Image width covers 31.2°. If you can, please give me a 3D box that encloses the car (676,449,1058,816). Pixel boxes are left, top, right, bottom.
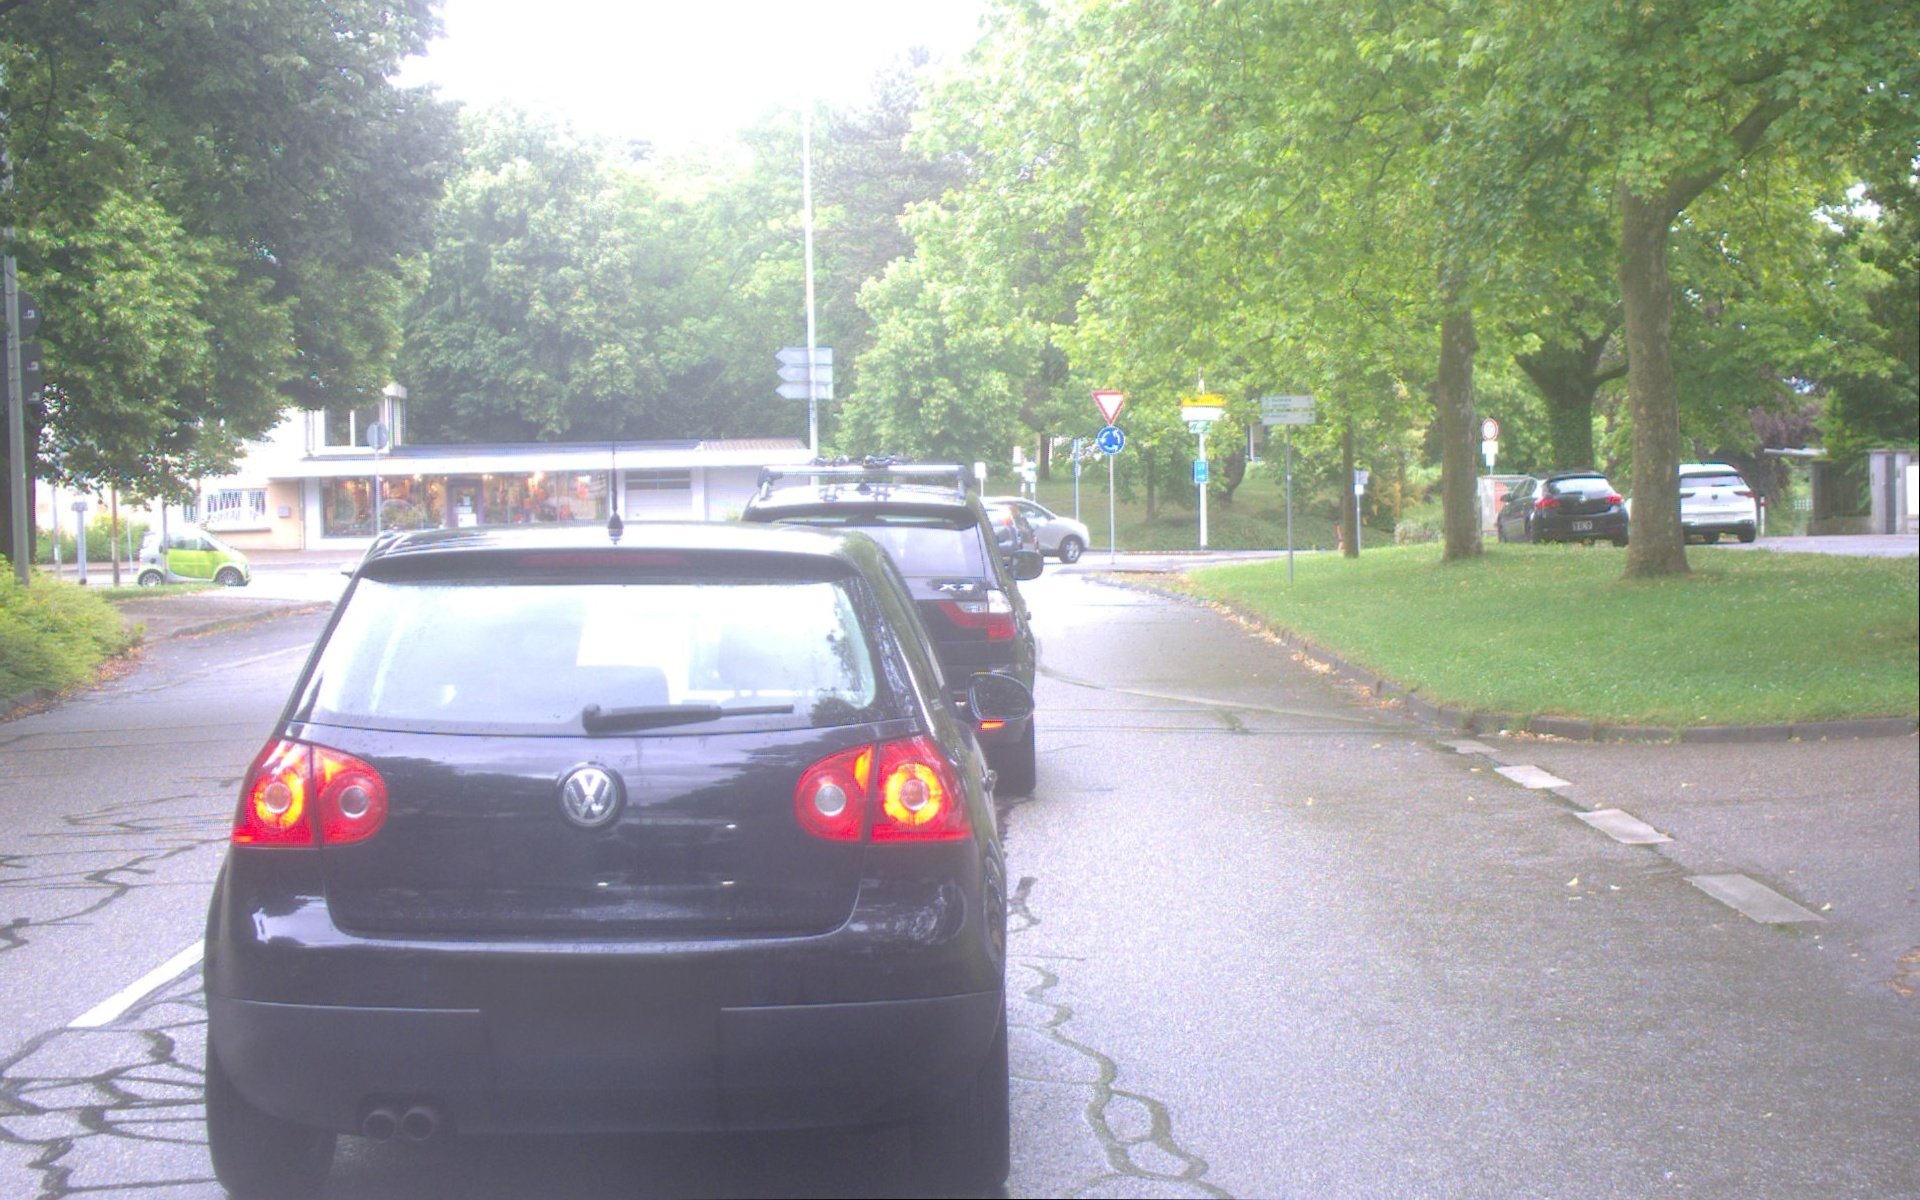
[{"bbox_3d":[-0.455,0.100,19.033,1.855,1.778,4.000,-1,2,0],"label":"car"}]

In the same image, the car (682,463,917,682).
[{"bbox_3d":[-1.360,-0.261,30.582,1.855,1.778,4.000,-1,1,0],"label":"car"}]

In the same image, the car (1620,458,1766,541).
[{"bbox_3d":[13.641,-1.891,64.182,1.803,1.401,4.001,-3,2,0],"label":"car"}]

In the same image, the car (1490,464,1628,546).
[{"bbox_3d":[11.112,-1.783,64.006,1.803,1.380,4.001,-3,2,0],"label":"car"}]

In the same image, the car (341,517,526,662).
[{"bbox_3d":[-5.872,-0.157,38.702,1.608,1.422,4.009,-2,2,-3],"label":"car"}]

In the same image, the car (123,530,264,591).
[{"bbox_3d":[-18.160,-0.942,81.565,3.119,1.305,1.540,-2,1,-8],"label":"car"}]

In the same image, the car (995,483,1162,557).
[{"bbox_3d":[2.992,-2.002,85.906,1.998,1.700,3.990,-1,2,43],"label":"car"}]

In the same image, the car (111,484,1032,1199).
[{"bbox_3d":[-0.757,0.497,8.614,1.798,1.510,3.754,0,1,0],"label":"car"}]

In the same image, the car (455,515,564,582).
[{"bbox_3d":[-10.263,-1.163,78.190,1.796,1.388,3.980,-4,2,-16],"label":"car"}]
